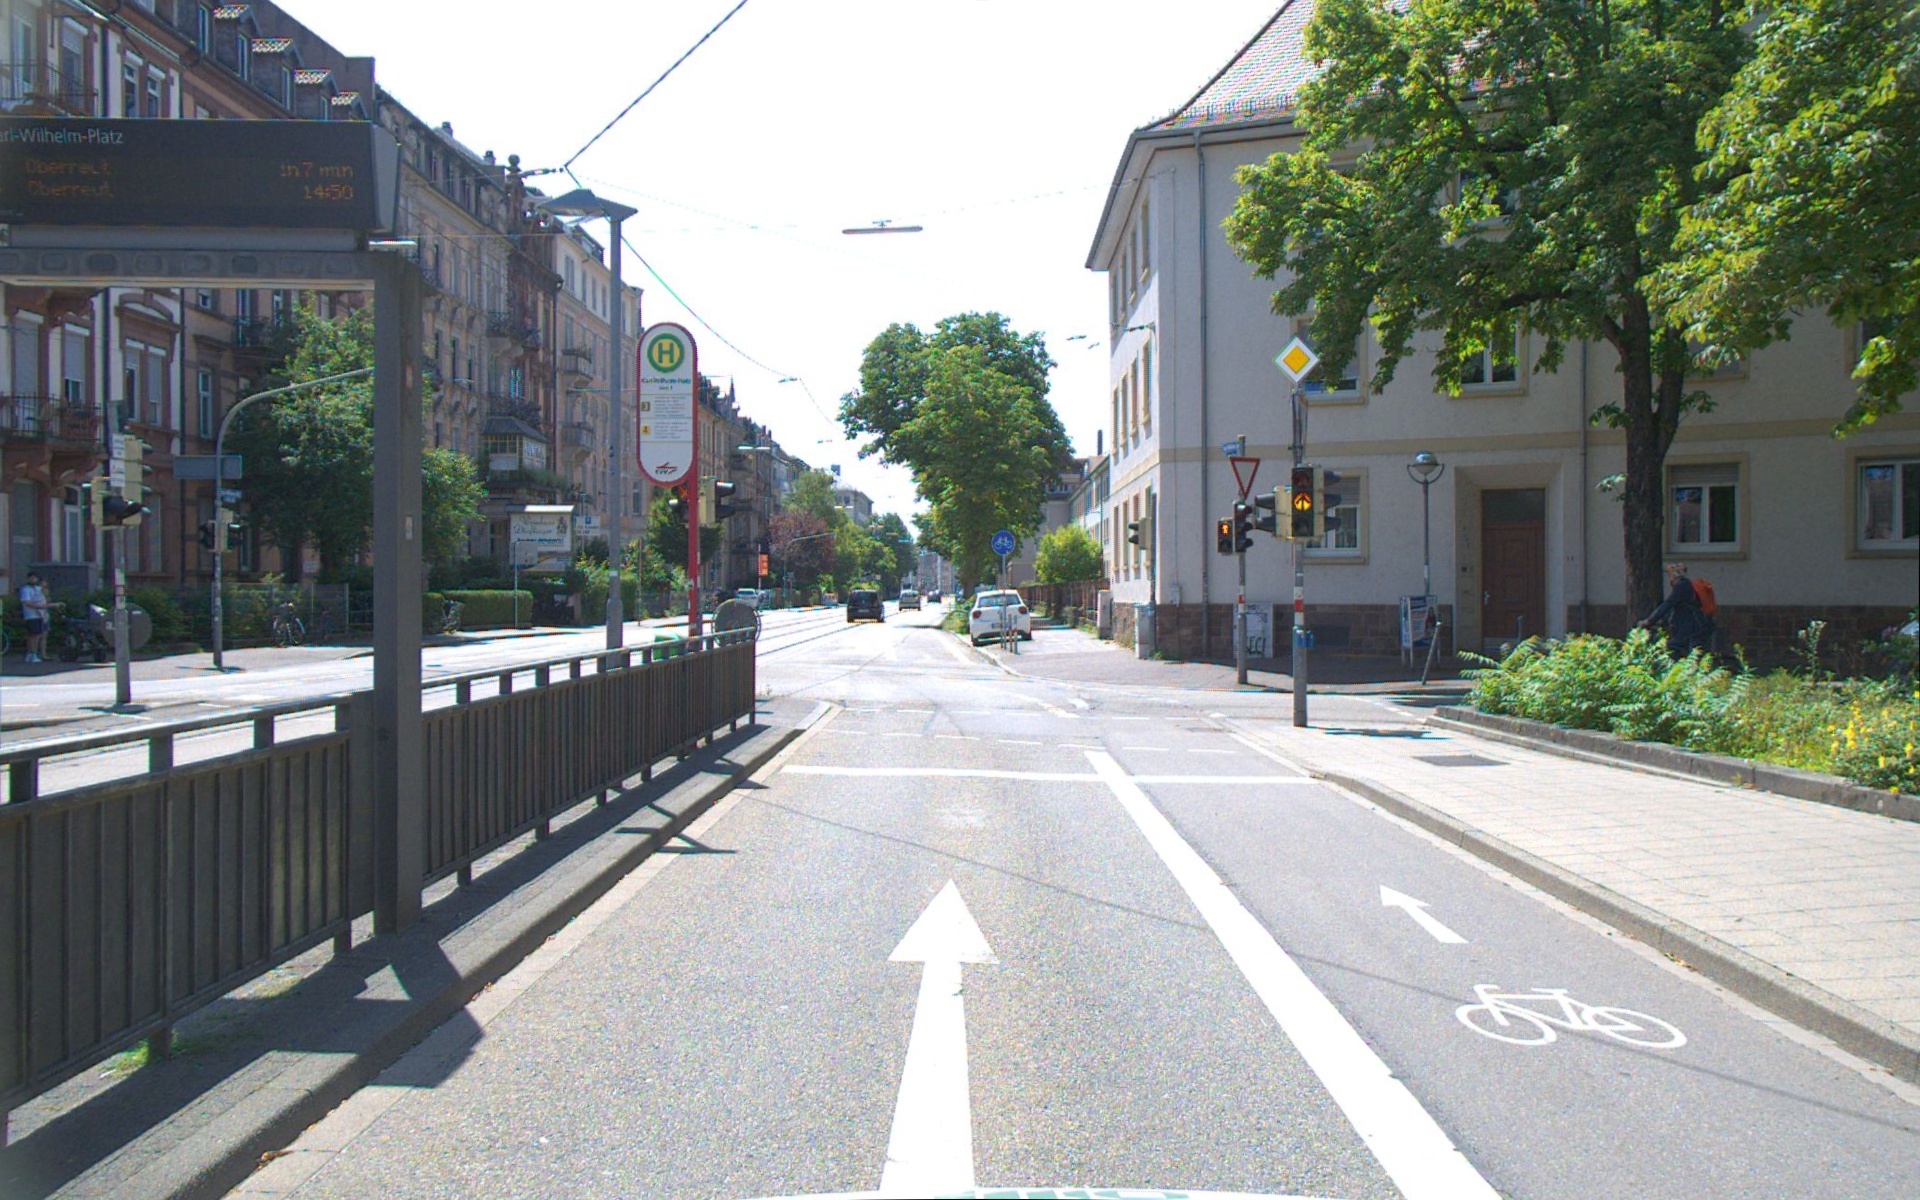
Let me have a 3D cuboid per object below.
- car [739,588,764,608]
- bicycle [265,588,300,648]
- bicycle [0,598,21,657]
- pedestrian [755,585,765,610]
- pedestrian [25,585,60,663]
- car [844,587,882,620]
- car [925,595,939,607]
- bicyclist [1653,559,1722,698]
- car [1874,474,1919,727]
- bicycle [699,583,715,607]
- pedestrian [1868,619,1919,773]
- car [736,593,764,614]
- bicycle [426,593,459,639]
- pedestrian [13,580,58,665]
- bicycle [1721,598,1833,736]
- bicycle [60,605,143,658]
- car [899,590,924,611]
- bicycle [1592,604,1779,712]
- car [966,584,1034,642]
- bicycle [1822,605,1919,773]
[{"bbox_3d":[-16.872,-0.182,134.010,1.596,1.498,3.562,-3,0,-2],"label":"car"},{"bbox_3d":[-16.562,0.419,40.413,0.607,1.420,2.288,1,0,-26],"label":"bicycle"},{"bbox_3d":[-19.919,0.560,33.519,1.507,1.189,0.359,1,1,-44],"label":"bicycle"},{"bbox_3d":[-14.354,-0.173,118.600,0.664,1.758,0.677,1,0,-1],"label":"pedestrian"},{"bbox_3d":[-18.446,0.481,33.243,0.503,1.543,0.462,1,-1,-42],"label":"pedestrian"},{"bbox_3d":[-4.504,0.167,76.988,1.493,1.469,3.365,-2,0,0],"label":"car"},{"bbox_3d":[-3.485,0.134,208.796,1.596,1.498,3.562,-3,0,-2],"label":"car"},{"bbox_3d":[8.940,0.345,20.318,0.681,1.675,0.578,0,-1,33],"label":"bicyclist"},{"bbox_3d":[12.281,0.023,15.972,1.981,2.635,5.767,1,0,-39],"label":"car"},{"bbox_3d":[-14.996,-0.289,97.948,0.565,1.412,2.501,1,0,-1],"label":"bicycle"},{"bbox_3d":[8.093,0.819,14.234,0.358,1.307,0.350,1,0,-1],"label":"pedestrian"},{"bbox_3d":[-15.900,0.281,125.423,1.651,1.498,3.936,-3,0,-2],"label":"car"},{"bbox_3d":[-15.748,0.474,50.289,0.584,1.380,2.420,1,0,-26],"label":"bicycle"},{"bbox_3d":[-18.153,0.436,32.475,0.648,1.643,0.462,1,2,-43],"label":"pedestrian"},{"bbox_3d":[7.112,0.574,14.450,0.326,1.147,1.287,1,-2,-1],"label":"bicycle"},{"bbox_3d":[-17.295,0.639,33.334,1.390,1.031,0.383,3,-2,-41],"label":"bicycle"},{"bbox_3d":[-3.635,0.052,123.667,1.712,1.498,3.937,-3,0,-1],"label":"car"},{"bbox_3d":[8.904,0.686,20.340,2.044,1.258,0.579,0,0,33],"label":"bicycle"},{"bbox_3d":[1.094,0.355,47.208,1.712,1.498,3.937,-3,0,-1],"label":"car"},{"bbox_3d":[8.102,0.741,14.290,0.345,1.383,1.834,1,0,0],"label":"bicycle"}]
